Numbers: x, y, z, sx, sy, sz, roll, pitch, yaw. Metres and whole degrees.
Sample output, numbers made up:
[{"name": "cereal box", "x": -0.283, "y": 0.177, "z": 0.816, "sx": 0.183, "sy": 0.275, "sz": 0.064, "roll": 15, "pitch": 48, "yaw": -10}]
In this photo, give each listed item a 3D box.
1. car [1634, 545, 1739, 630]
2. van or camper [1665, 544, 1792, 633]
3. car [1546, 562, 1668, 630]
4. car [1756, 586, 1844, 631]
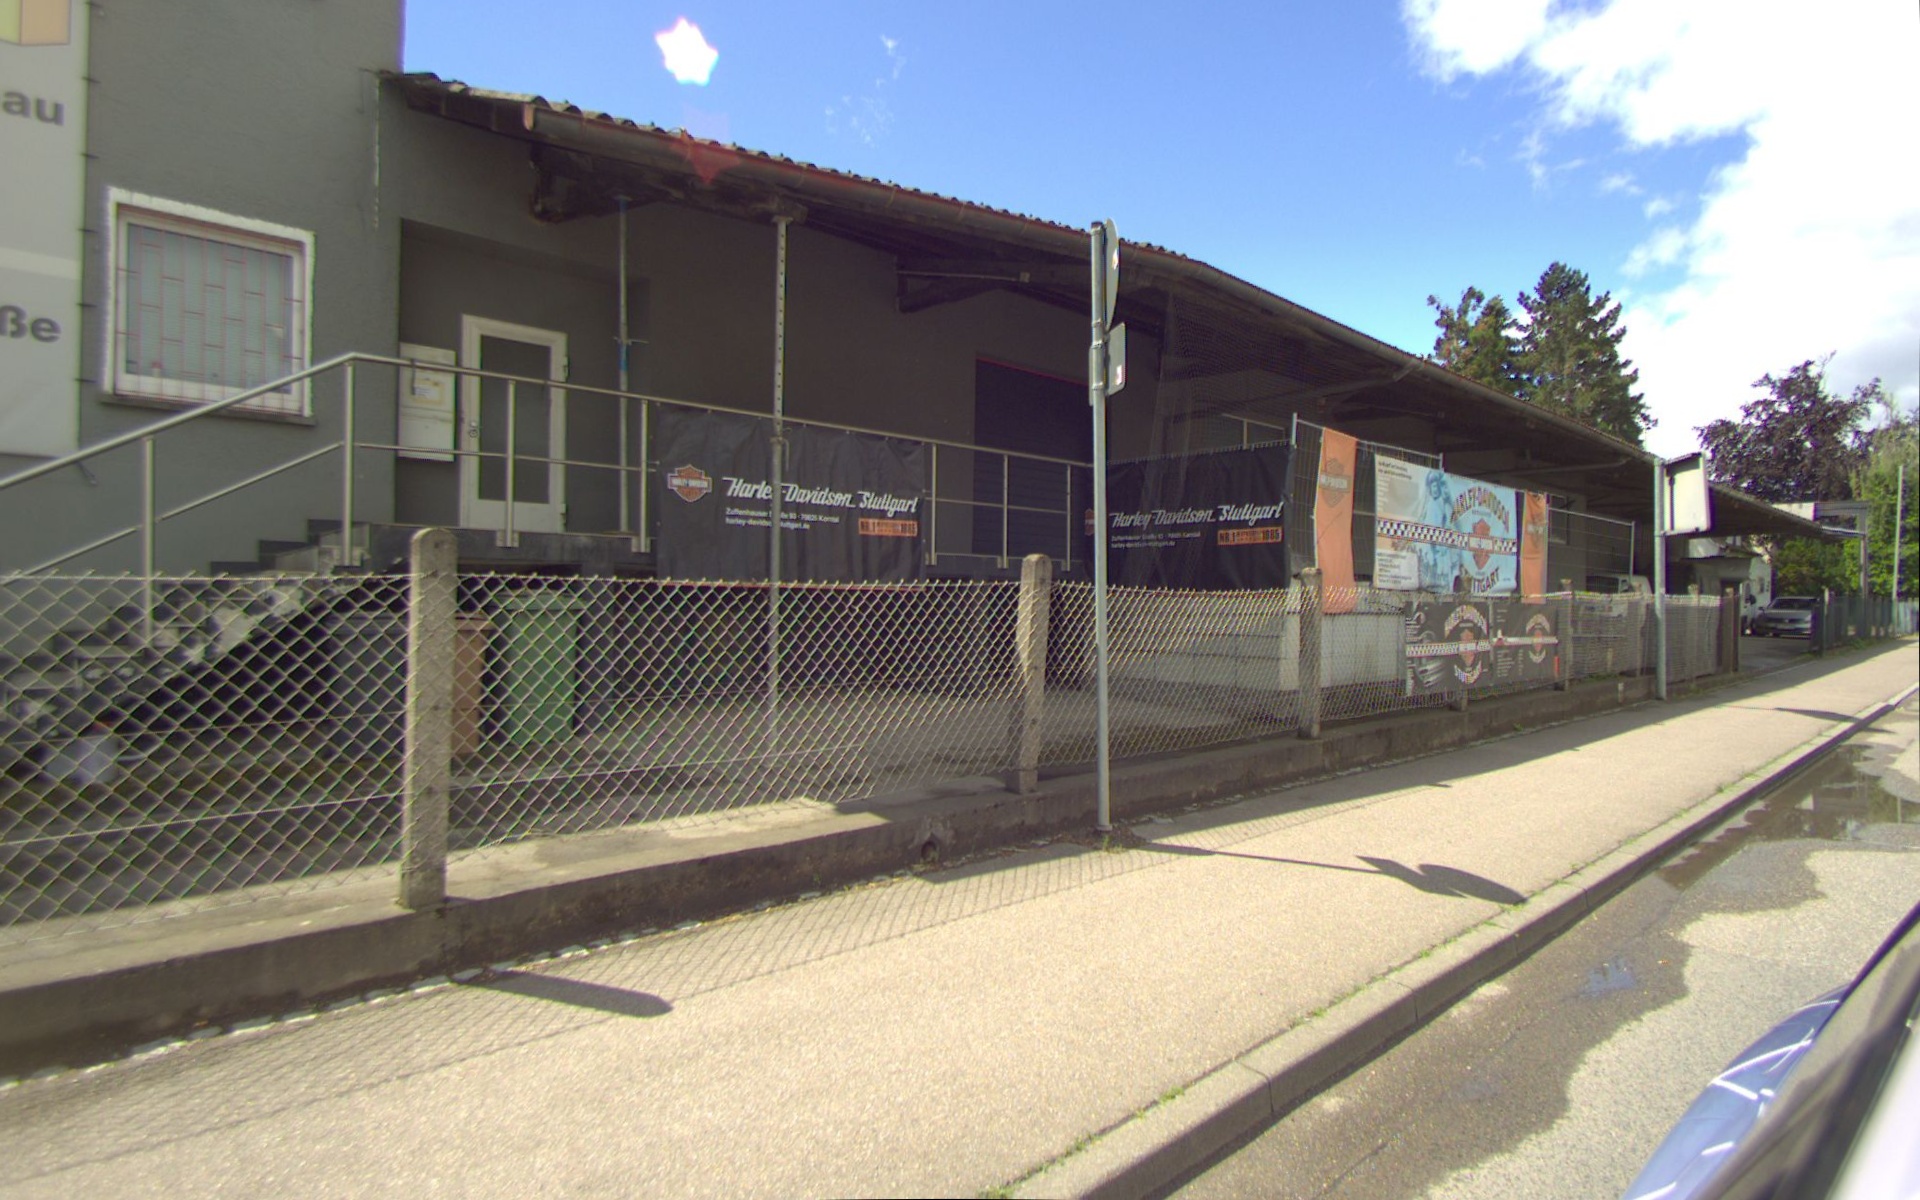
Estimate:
[{"name": "car", "x": 25.181, "y": -0.368, "z": 35.004, "sx": 5.405, "sy": 2.715, "sz": 2.019, "roll": 2, "pitch": -1, "yaw": -44}, {"name": "van or camper", "x": 29.621, "y": -0.428, "z": 38.921, "sx": 6.798, "sy": 3.099, "sz": 2.883, "roll": 0, "pitch": 0, "yaw": -44}, {"name": "car", "x": 19.808, "y": -0.104, "z": 30.907, "sx": 4.770, "sy": 1.934, "sz": 1.996, "roll": 1, "pitch": 0, "yaw": -43}, {"name": "car", "x": 29.614, "y": 0.299, "z": 35.613, "sx": 4.842, "sy": 1.508, "sz": 1.766, "roll": 1, "pitch": 0, "yaw": -43}]
